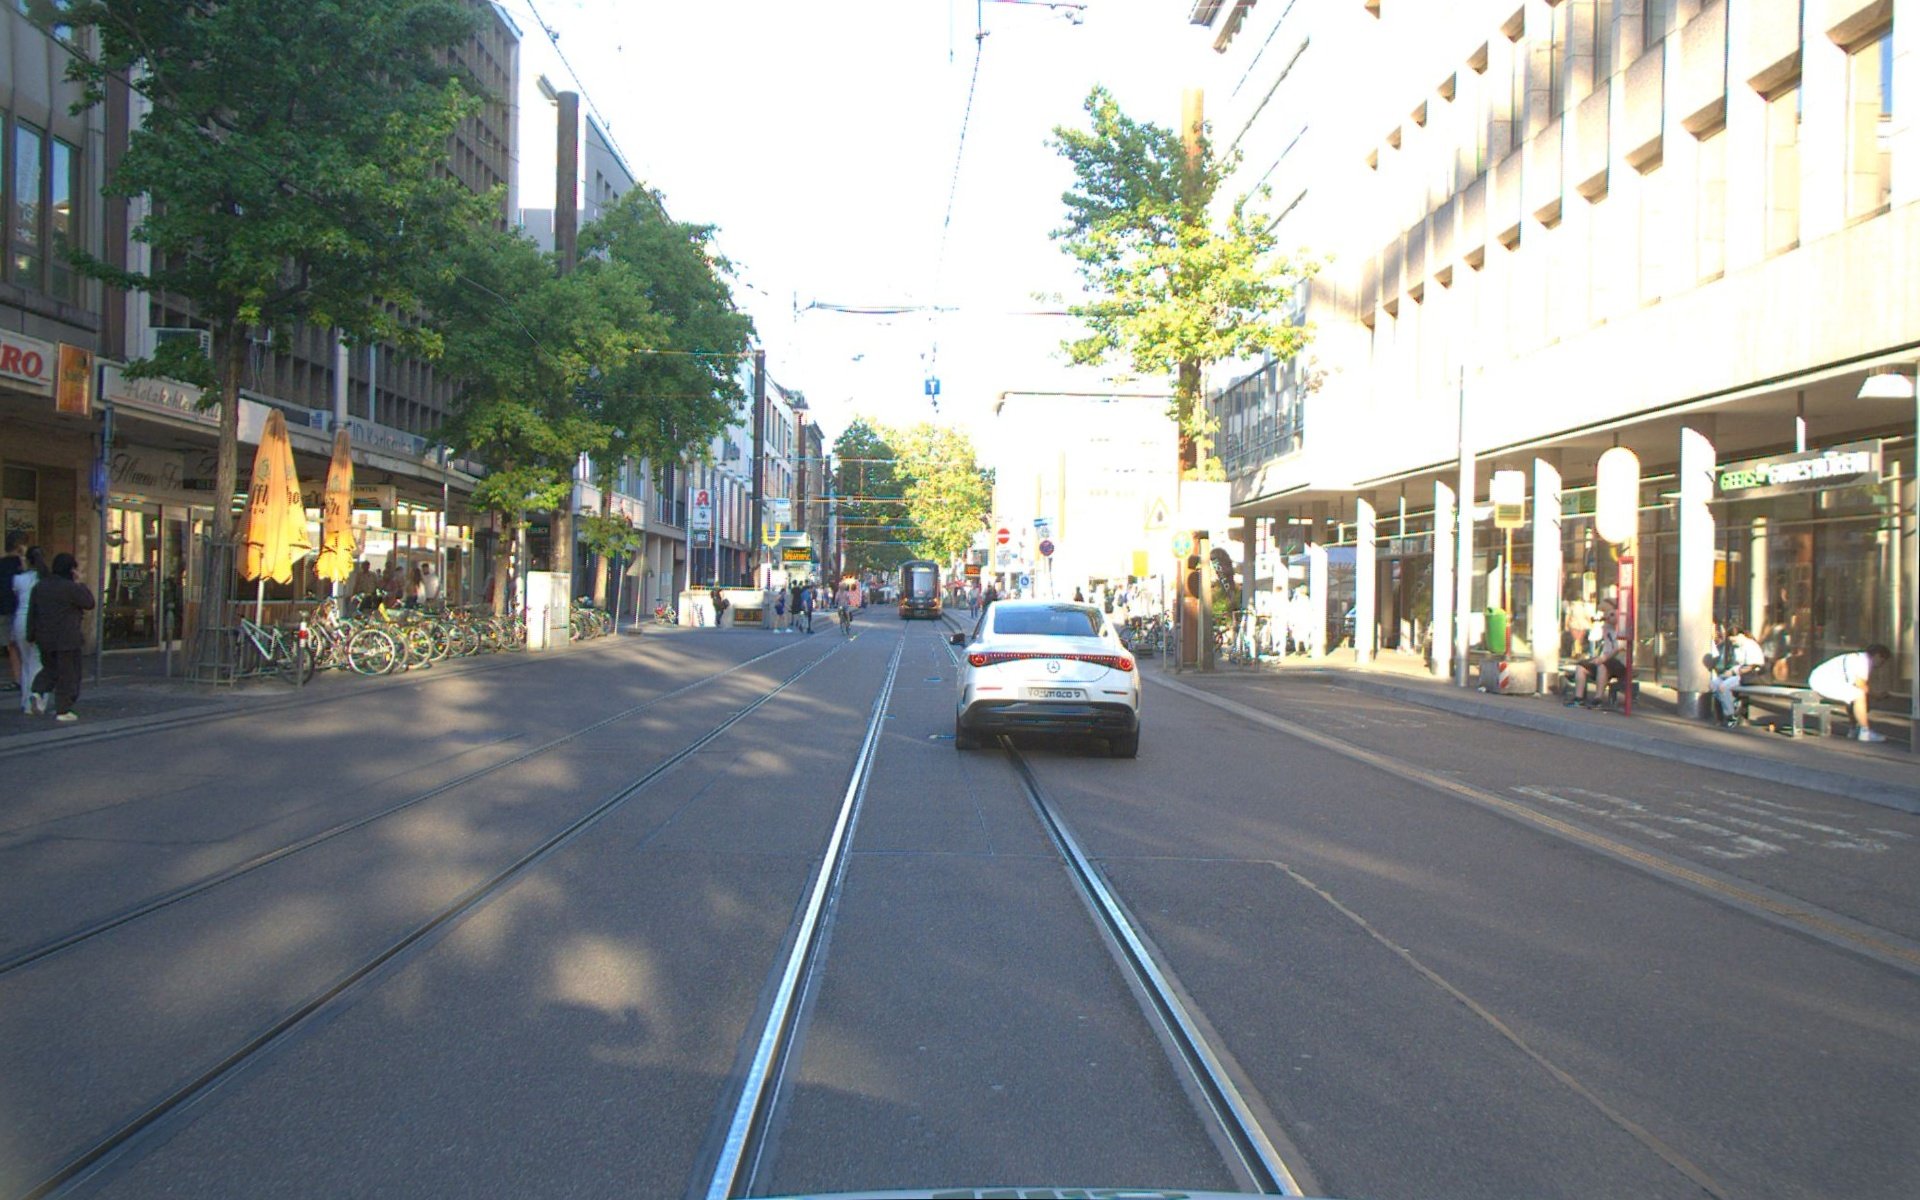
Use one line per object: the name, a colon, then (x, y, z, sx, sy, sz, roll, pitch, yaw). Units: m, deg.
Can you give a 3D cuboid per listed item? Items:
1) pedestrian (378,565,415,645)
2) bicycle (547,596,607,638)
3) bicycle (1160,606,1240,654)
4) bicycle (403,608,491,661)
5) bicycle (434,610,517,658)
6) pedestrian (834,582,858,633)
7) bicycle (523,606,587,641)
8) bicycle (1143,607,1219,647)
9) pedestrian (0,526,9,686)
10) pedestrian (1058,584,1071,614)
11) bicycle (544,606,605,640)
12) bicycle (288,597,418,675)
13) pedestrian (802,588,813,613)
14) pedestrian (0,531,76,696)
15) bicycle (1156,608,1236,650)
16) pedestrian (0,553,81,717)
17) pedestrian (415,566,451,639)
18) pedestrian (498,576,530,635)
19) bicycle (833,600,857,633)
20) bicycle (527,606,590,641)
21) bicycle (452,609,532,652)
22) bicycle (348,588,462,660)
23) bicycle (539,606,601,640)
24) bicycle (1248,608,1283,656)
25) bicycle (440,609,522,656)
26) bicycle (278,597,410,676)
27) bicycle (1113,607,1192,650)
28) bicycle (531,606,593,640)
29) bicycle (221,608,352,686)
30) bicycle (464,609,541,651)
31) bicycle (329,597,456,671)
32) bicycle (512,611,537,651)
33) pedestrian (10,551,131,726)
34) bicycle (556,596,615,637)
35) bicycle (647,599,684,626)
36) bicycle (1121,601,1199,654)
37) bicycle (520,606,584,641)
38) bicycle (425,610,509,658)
pedestrian: (-12.833, 0.115, 37.669, 0.705, 1.797, 0.679, 1, 0, -26)
bicycle: (-10.042, 0.444, 43.393, 1.466, 1.027, 0.343, 2, 0, -12)
bicycle: (6.058, 0.746, 41.762, 1.875, 1.177, 0.608, -1, 0, -13)
bicycle: (-9.325, 0.622, 30.091, 1.464, 0.892, 0.344, 2, 0, -8)
bicycle: (-9.309, 0.656, 31.775, 1.462, 0.855, 0.344, 2, 0, 0)
pedestrian: (-4.161, 0.264, 60.267, 0.784, 1.813, 0.848, 2, 0, -3)
bicycle: (-10.026, 0.584, 40.983, 1.462, 0.797, 0.344, 2, 0, 0)
bicycle: (6.291, 0.769, 47.153, 2.077, 1.115, 0.608, 0, 0, -13)
pedestrian: (-11.263, 0.054, 18.518, 0.609, 1.835, 0.933, 3, 0, -1)
pedestrian: (6.491, -0.081, 102.691, 0.712, 1.816, 0.707, 1, 0, -2)
bicycle: (-9.895, 0.582, 42.439, 1.462, 0.797, 0.344, 2, 0, 0)
bicycle: (-9.133, 0.535, 24.898, 1.754, 1.096, 0.376, 2, 0, -6)
pedestrian: (-10.015, 0.024, 108.448, 0.647, 1.627, 0.573, 1, 0, -3)
pedestrian: (-10.482, 0.138, 18.500, 0.609, 1.778, 0.933, 3, 0, -1)
bicycle: (6.416, 0.777, 44.957, 2.078, 1.115, 0.607, 0, 0, -15)
pedestrian: (-9.124, 0.325, 16.099, 0.609, 1.535, 0.833, 3, 0, -1)
pedestrian: (-13.054, 0.068, 40.948, 0.776, 1.797, 0.533, 1, 0, -26)
pedestrian: (-13.754, 0.165, 50.994, 0.718, 1.792, 0.808, 1, 0, -36)
bicycle: (-4.178, 0.588, 60.299, 0.784, 1.162, 2.256, 2, 0, -3)
bicycle: (-10.029, 0.583, 41.342, 1.462, 0.797, 0.344, 2, 0, 0)
bicycle: (-9.379, 0.610, 33.154, 1.462, 0.797, 0.344, 2, 0, 0)
bicycle: (-9.633, 0.412, 28.707, 1.809, 1.160, 0.377, 2, 0, 0)
bicycle: (-9.918, 0.589, 42.069, 1.462, 0.797, 0.344, 2, 0, 0)
bicycle: (7.660, 0.781, 41.509, 0.553, 1.147, 1.930, -1, 0, 2)
bicycle: (-9.378, 0.639, 32.403, 1.462, 0.855, 0.344, 2, 0, 0)
bicycle: (-9.092, 0.535, 24.444, 1.754, 1.096, 0.376, 2, 0, -6)
bicycle: (5.309, 0.786, 45.592, 2.077, 1.115, 0.608, 1, 0, -13)
bicycle: (-10.029, 0.581, 41.702, 1.462, 0.797, 0.344, 2, 0, 0)
bicycle: (-8.821, 0.610, 21.685, 1.562, 0.946, 0.377, 2, 0, 5)
bicycle: (-9.338, 0.612, 33.772, 1.462, 0.797, 0.344, 2, 0, 0)
bicycle: (-8.963, 0.542, 26.152, 1.811, 1.096, 0.376, 2, 0, -6)
bicycle: (-9.143, 0.641, 34.747, 0.337, 0.797, 1.402, 2, 0, -9)
pedestrian: (-8.407, 0.349, 15.664, 0.609, 1.577, 0.852, 3, 0, -1)
bicycle: (-9.922, 0.440, 43.835, 1.466, 1.047, 0.343, 2, 0, -12)
bicycle: (-11.563, 0.470, 64.985, 0.703, 1.027, 2.041, 1, 0, 12)
bicycle: (5.149, 0.707, 42.602, 1.875, 1.303, 0.608, -1, 0, -13)
bicycle: (-10.020, 0.578, 40.628, 1.462, 0.797, 0.344, 2, 0, 0)
bicycle: (-9.353, 0.644, 31.404, 1.462, 0.855, 0.344, 2, 0, 0)
